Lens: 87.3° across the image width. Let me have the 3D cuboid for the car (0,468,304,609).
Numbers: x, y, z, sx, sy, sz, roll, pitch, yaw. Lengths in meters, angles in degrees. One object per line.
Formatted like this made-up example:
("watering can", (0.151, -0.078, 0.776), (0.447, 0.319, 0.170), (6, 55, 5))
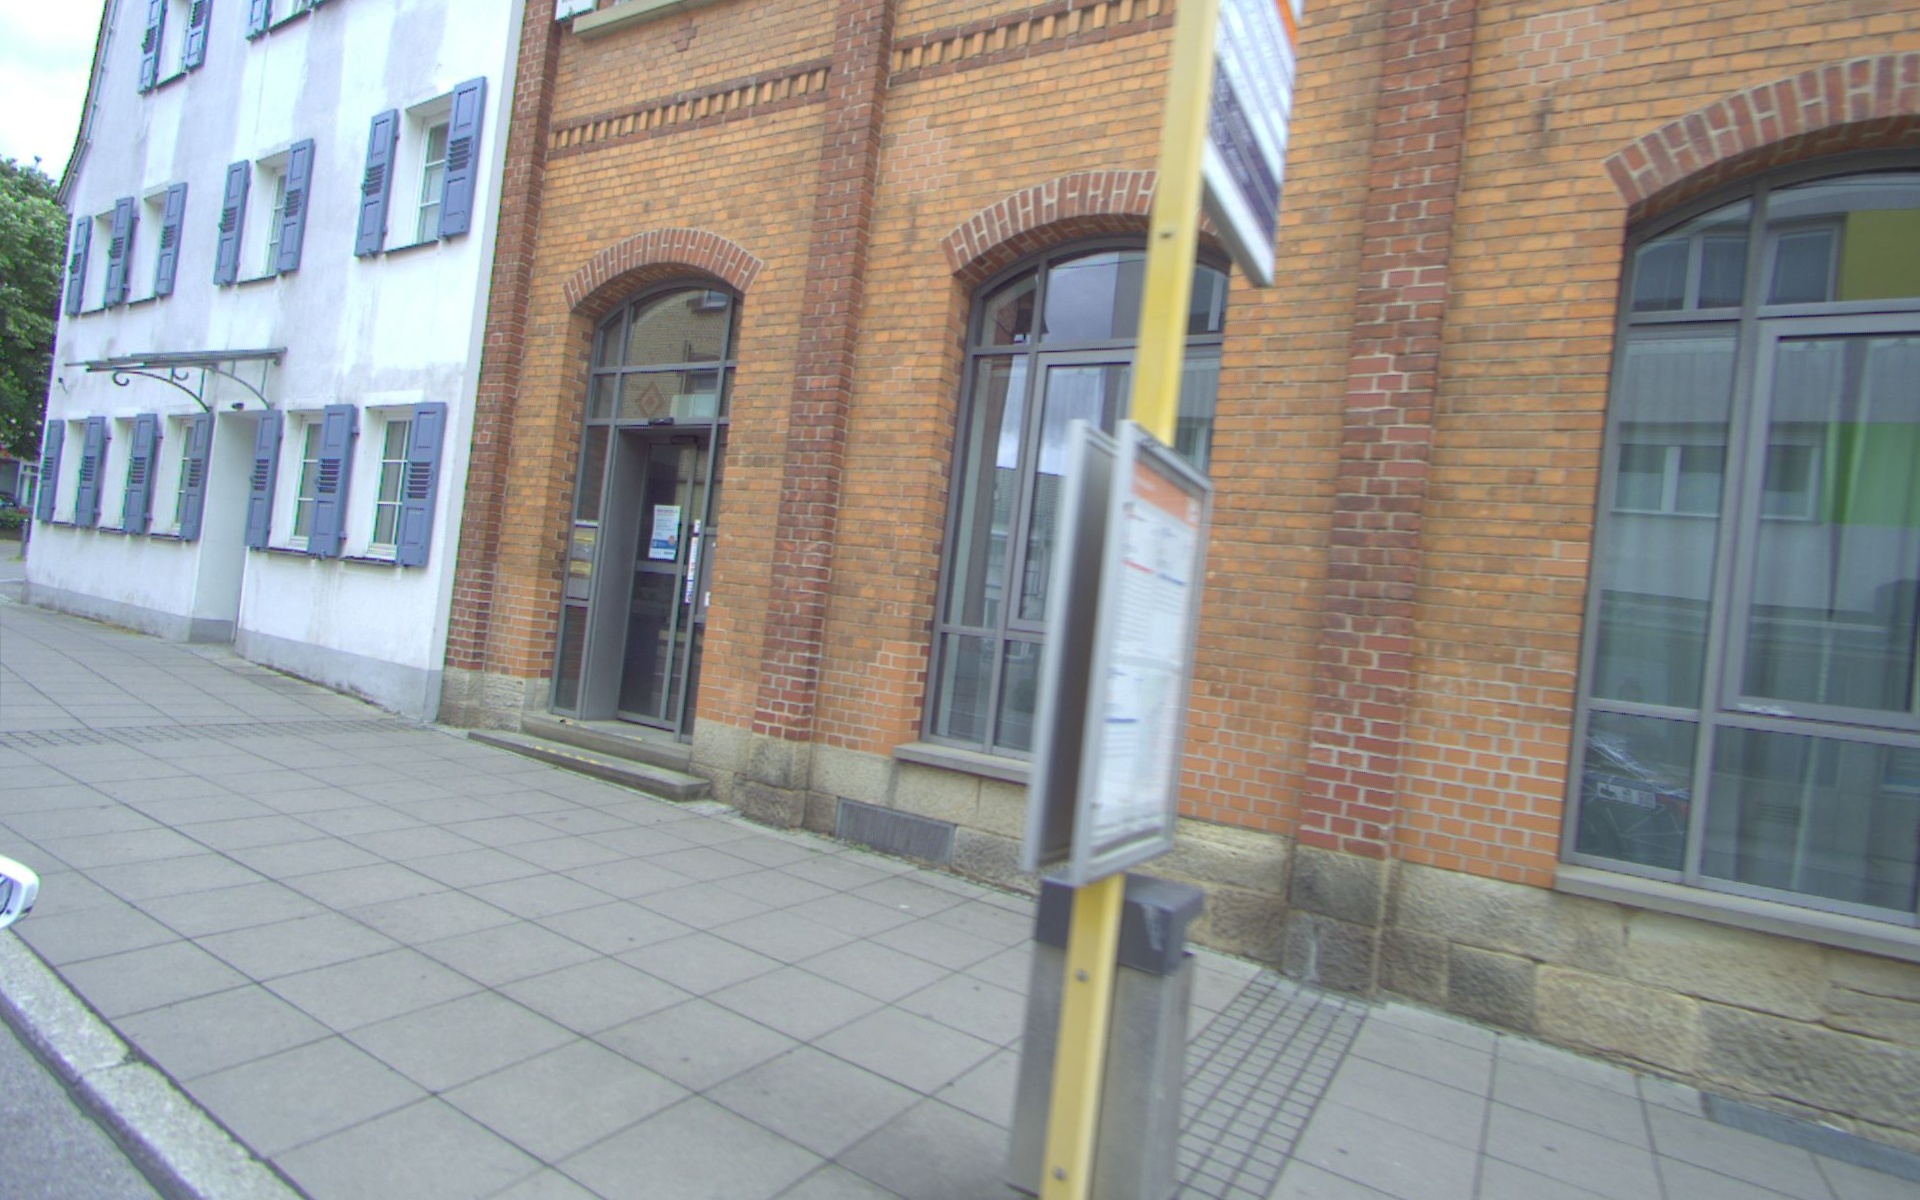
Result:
("car", (-14.754, -1.052, 18.423), (1.968, 1.859, 3.993), (7, -2, 33))
